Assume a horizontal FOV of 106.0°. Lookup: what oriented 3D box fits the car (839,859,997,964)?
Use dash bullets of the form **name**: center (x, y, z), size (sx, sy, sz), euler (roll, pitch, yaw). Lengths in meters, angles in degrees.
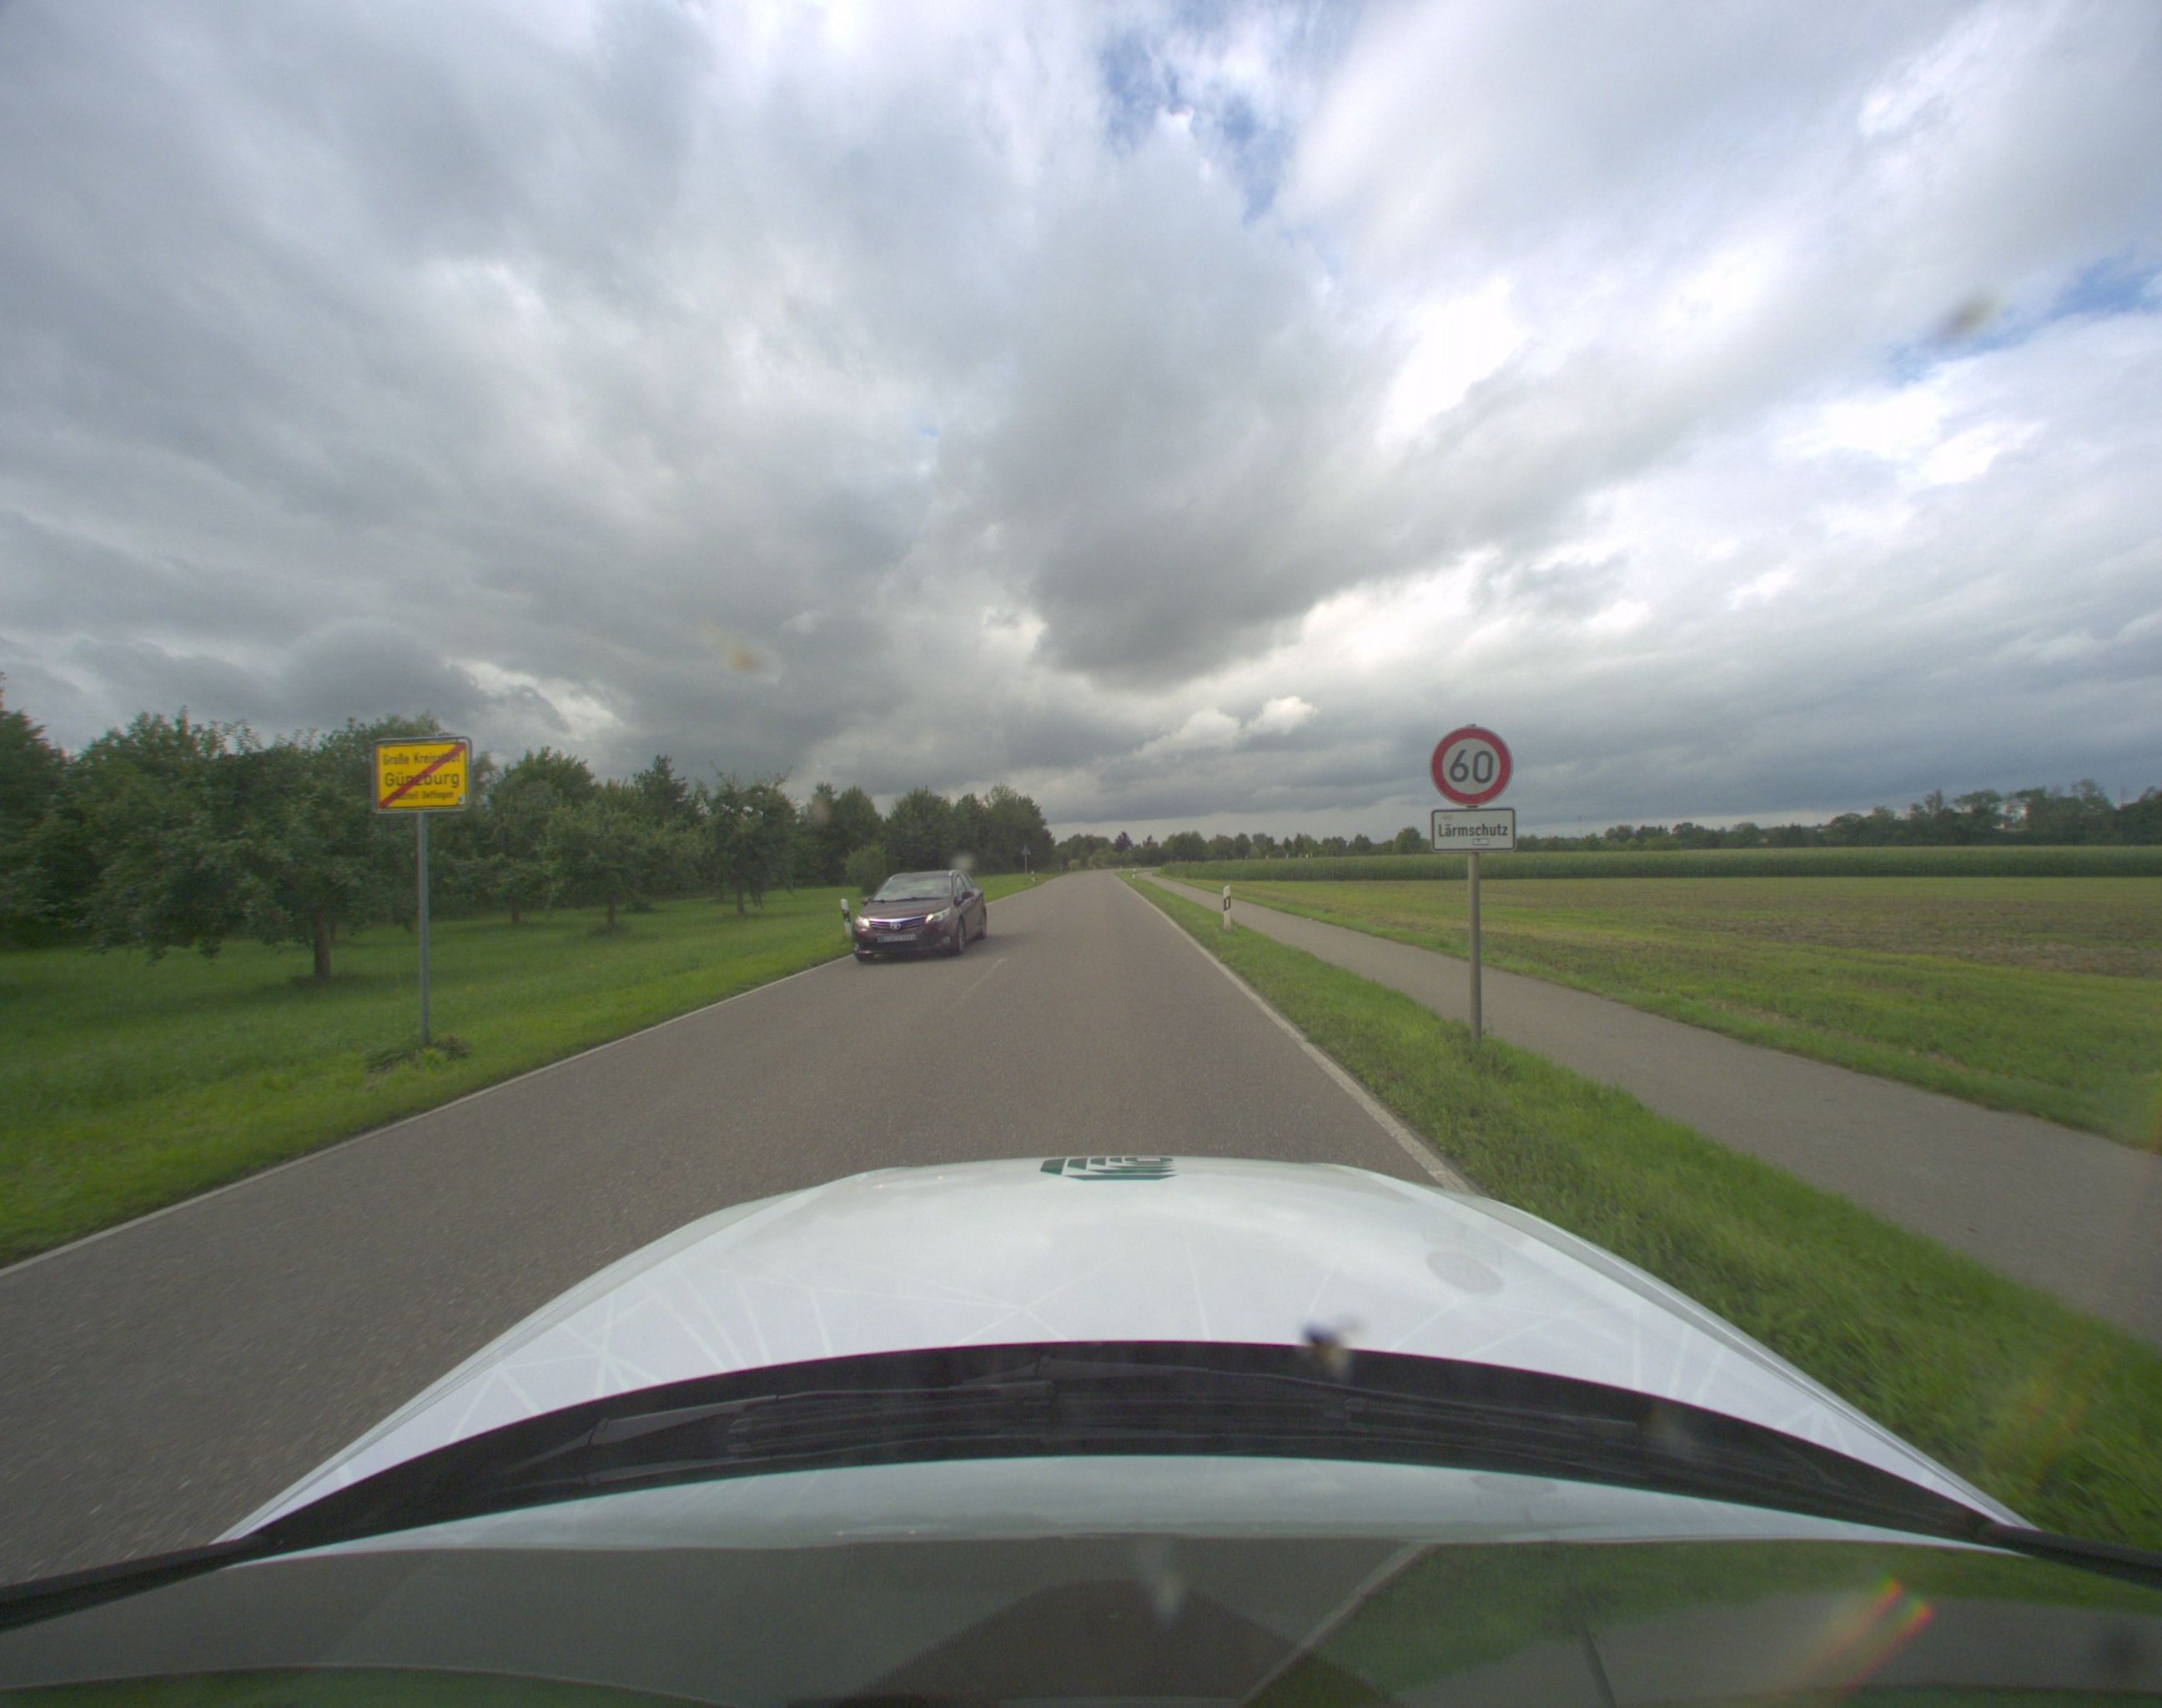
- **car**: center (-2.795, 0.923, 14.944), size (1.857, 1.552, 4.183), euler (-3, 0, 1)
